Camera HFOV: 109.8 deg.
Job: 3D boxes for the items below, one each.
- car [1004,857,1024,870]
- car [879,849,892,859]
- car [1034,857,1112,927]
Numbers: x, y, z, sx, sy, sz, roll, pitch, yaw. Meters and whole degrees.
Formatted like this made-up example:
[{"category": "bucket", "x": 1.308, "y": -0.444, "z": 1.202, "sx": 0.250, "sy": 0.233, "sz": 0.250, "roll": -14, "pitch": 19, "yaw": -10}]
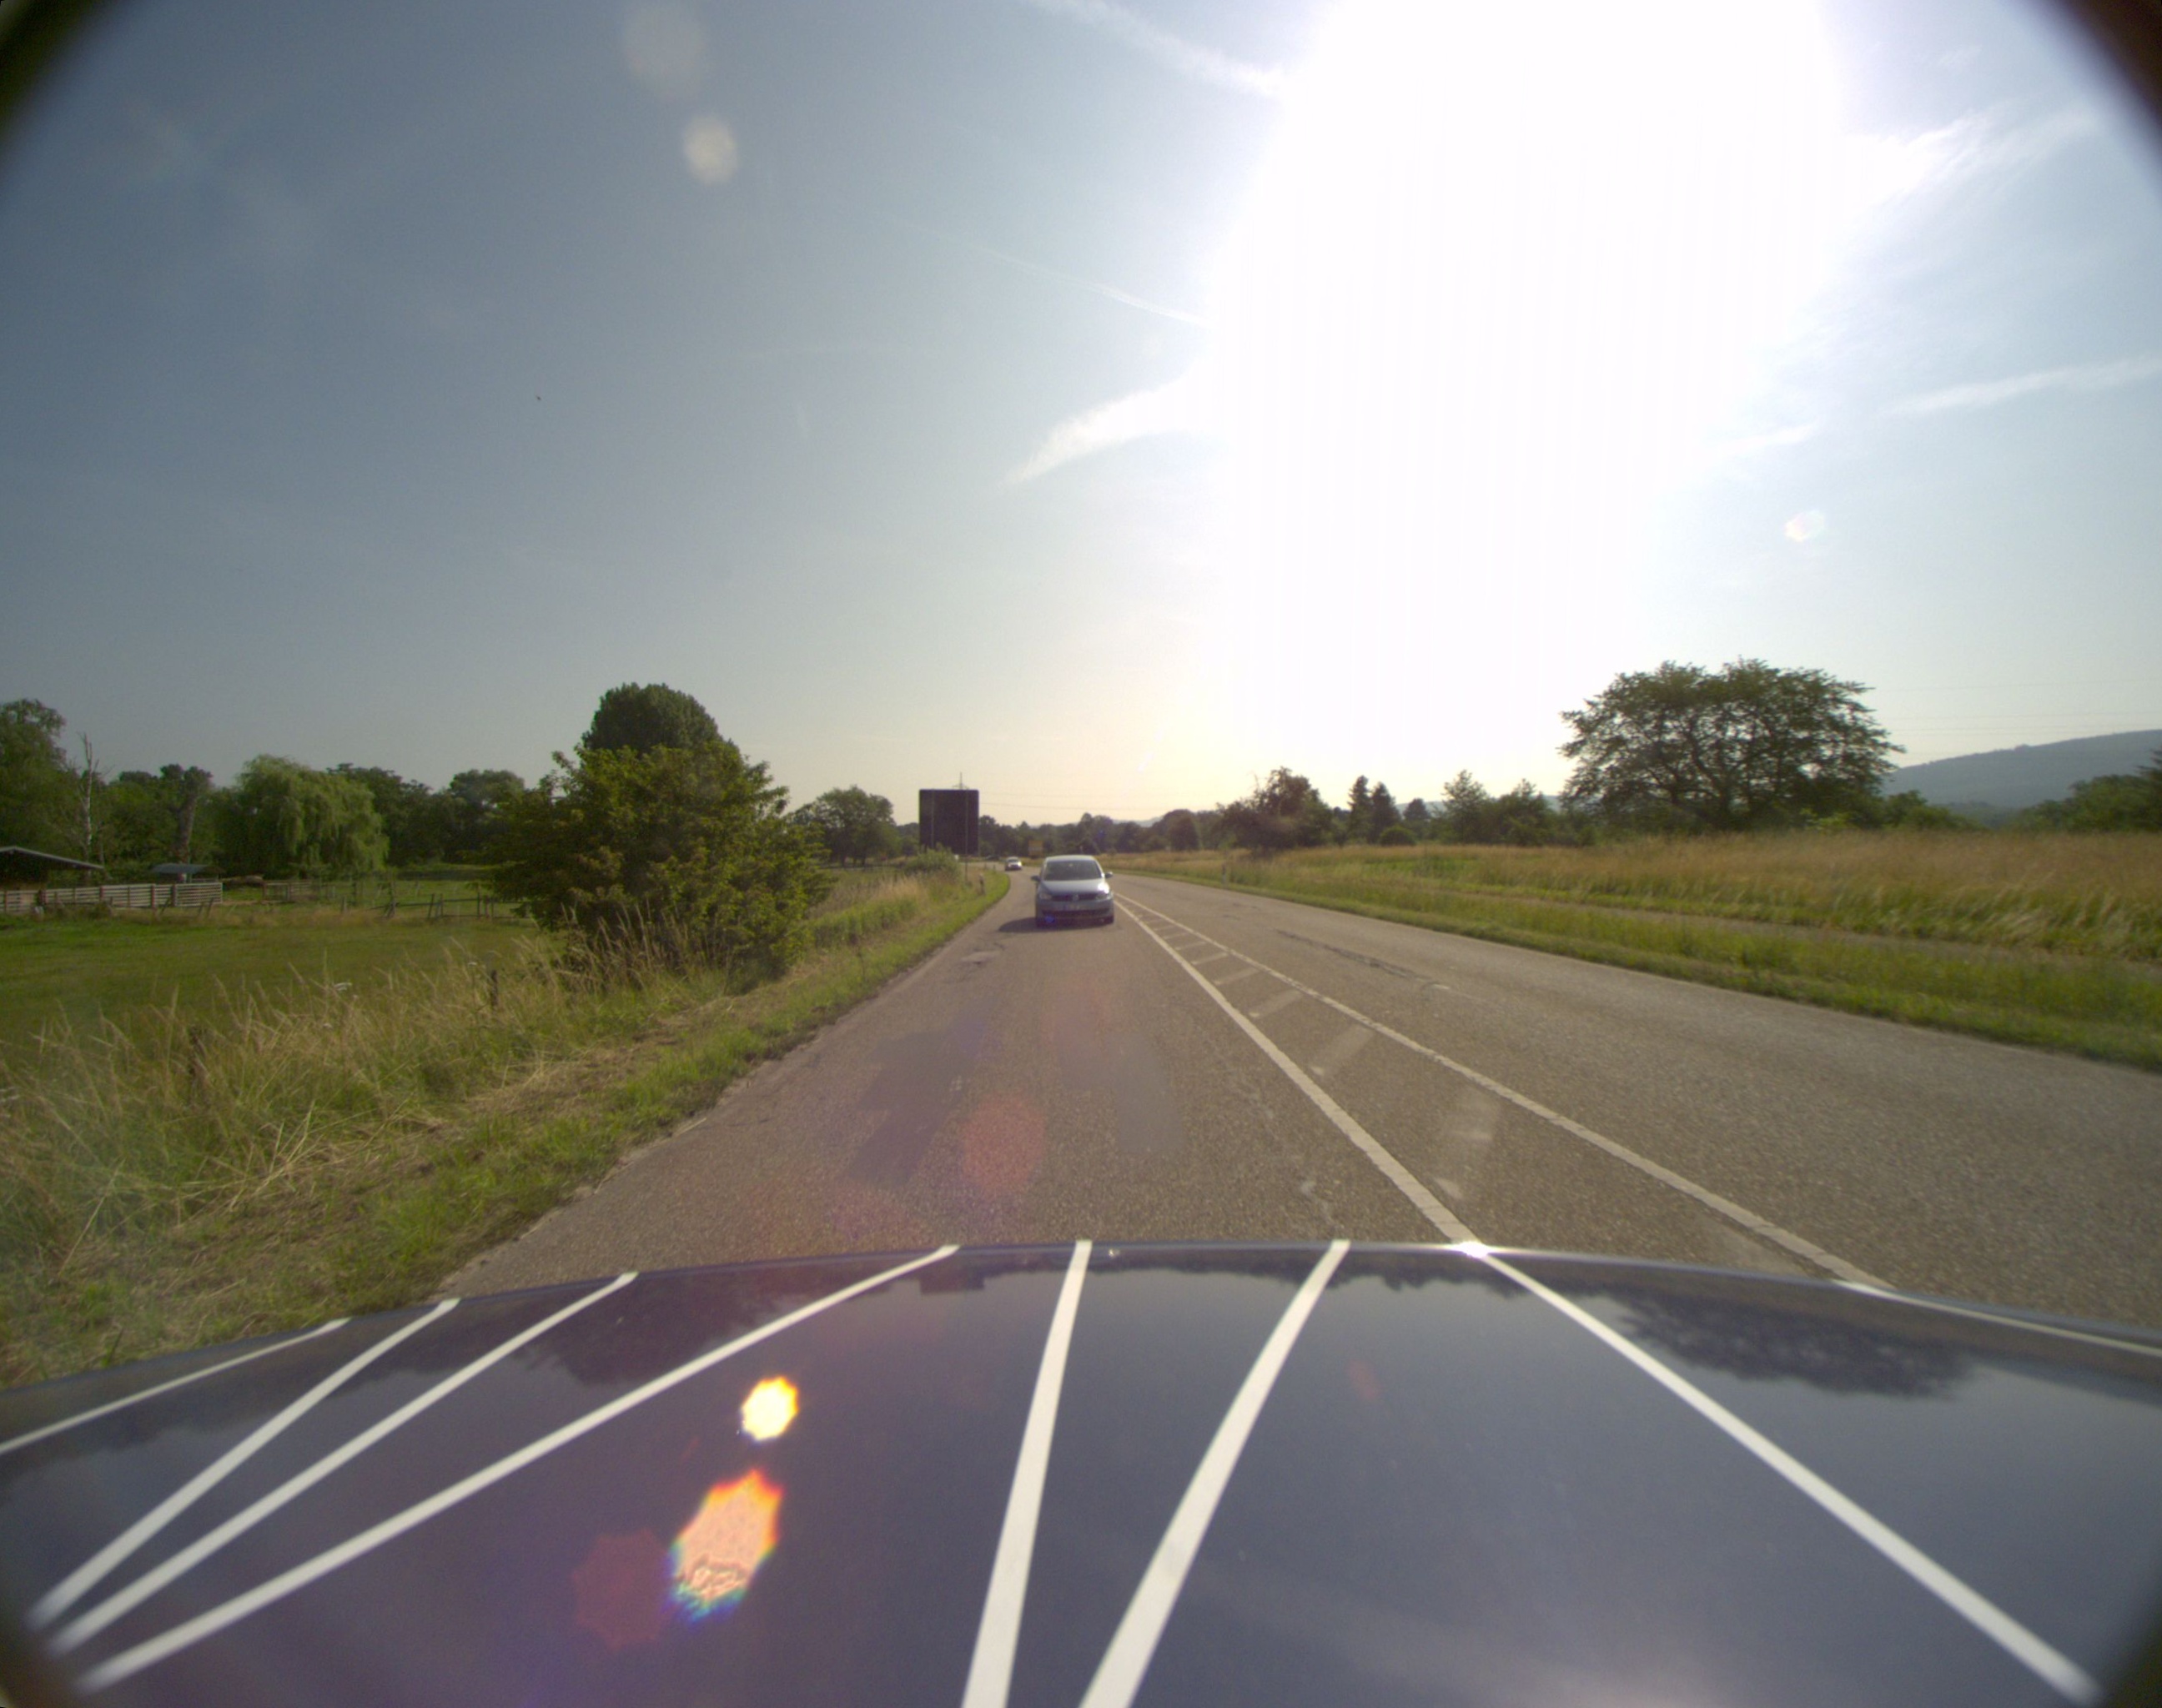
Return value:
[{"category": "car", "x": -8.160, "y": 1.128, "z": 91.779, "sx": 2.000, "sy": 1.571, "sz": 3.905, "roll": -1, "pitch": 0, "yaw": -10}, {"category": "car", "x": -53.006, "y": -0.039, "z": 205.942, "sx": 2.134, "sy": 2.680, "sz": 5.256, "roll": -2, "pitch": 1, "yaw": -29}, {"category": "car", "x": -0.239, "y": 0.888, "z": 19.543, "sx": 1.718, "sy": 1.495, "sz": 4.093, "roll": -3, "pitch": 0, "yaw": -1}]
